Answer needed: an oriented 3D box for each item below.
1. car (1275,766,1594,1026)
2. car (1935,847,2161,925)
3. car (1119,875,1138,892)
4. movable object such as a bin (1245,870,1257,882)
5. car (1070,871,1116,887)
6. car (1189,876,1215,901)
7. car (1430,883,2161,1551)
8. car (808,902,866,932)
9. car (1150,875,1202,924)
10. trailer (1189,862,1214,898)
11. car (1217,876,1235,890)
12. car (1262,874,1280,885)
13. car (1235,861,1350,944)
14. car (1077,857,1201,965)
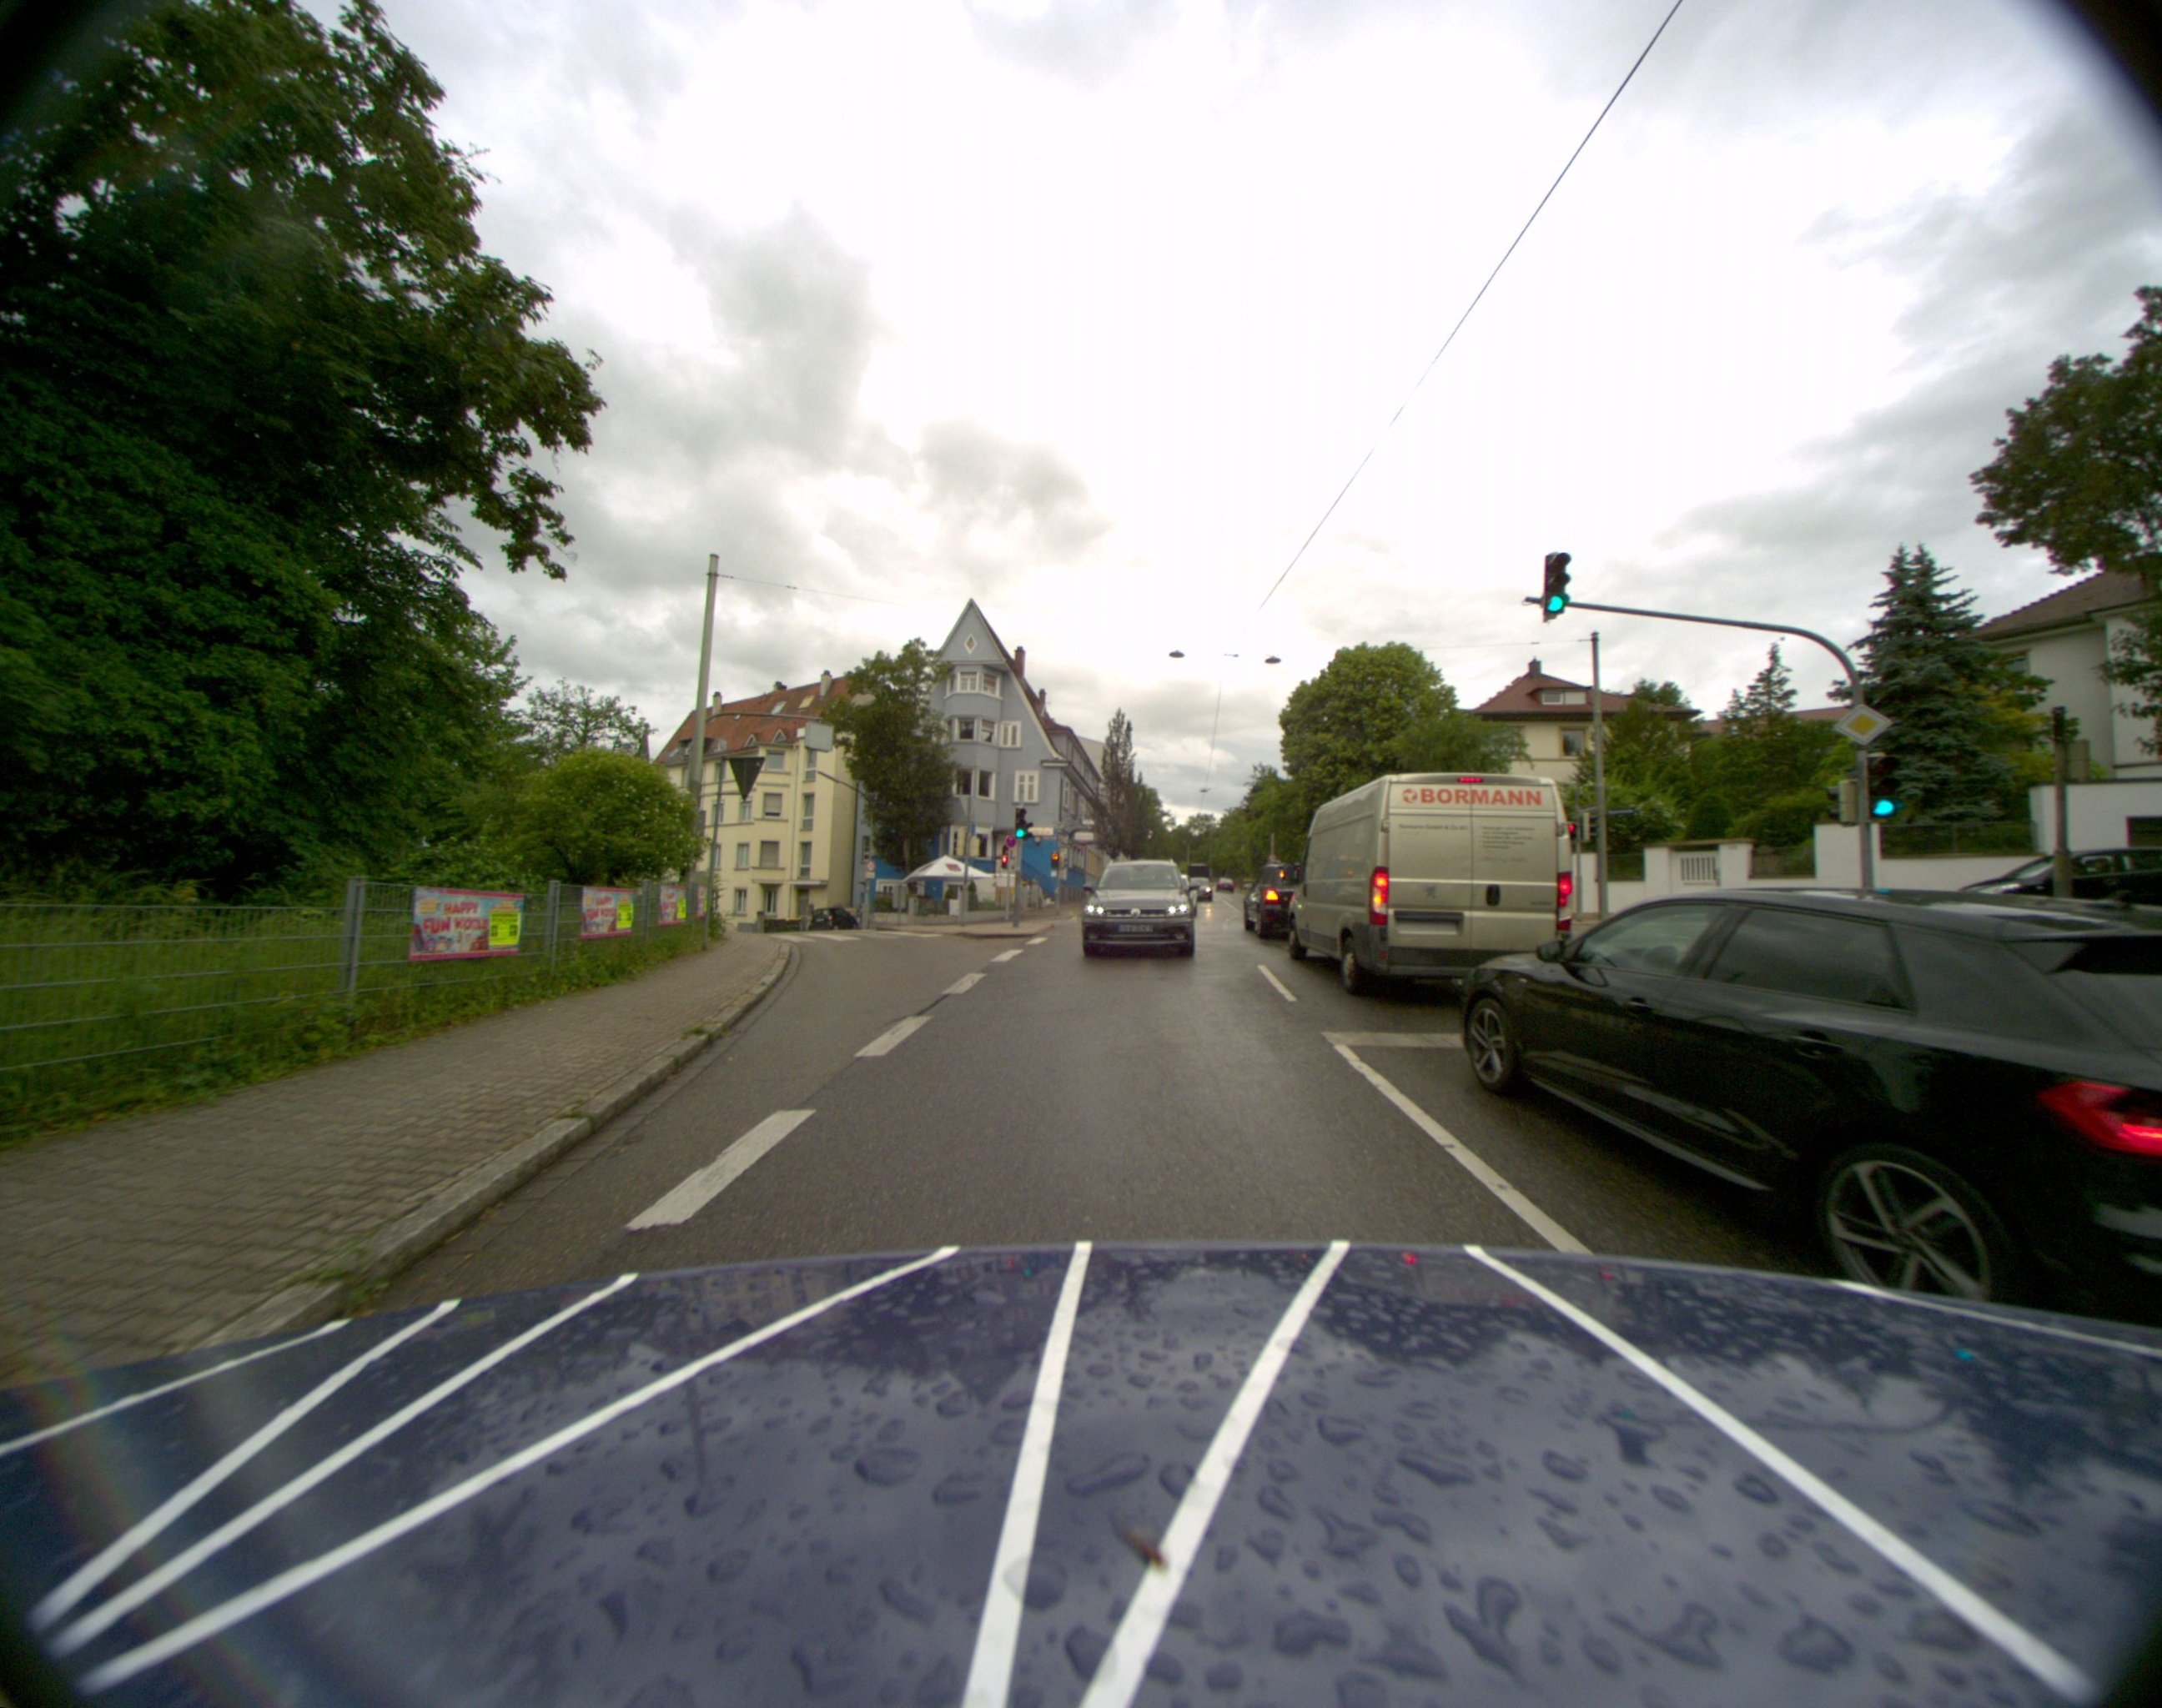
[{"bbox_3d":[4.205,0.428,10.313,2.122,2.530,5.542,1,0,5],"label":"car"},{"bbox_3d":[20.774,0.718,15.927,3.358,1.428,1.676,-4,-8,29],"label":"car"},{"bbox_3d":[4.352,2.659,69.360,1.590,1.403,3.458,2,-1,4],"label":"car"},{"bbox_3d":[20.801,2.687,93.085,1.226,1.342,1.123,1,0,0],"label":"movable object such as a bin"},{"bbox_3d":[1.161,2.432,74.795,4.367,1.399,1.808,-1,0,-7],"label":"car"},{"bbox_3d":[8.513,2.410,53.477,1.735,1.610,3.478,-1,0,8],"label":"car"},{"bbox_3d":[3.458,0.943,3.547,1.819,1.421,4.000,2,0,1],"label":"car"},{"bbox_3d":[-14.097,3.634,44.026,1.637,1.488,3.148,-5,-3,17],"label":"car"},{"bbox_3d":[3.613,1.665,29.152,1.785,1.631,4.202,1,-1,6],"label":"car"},{"bbox_3d":[8.970,1.916,56.690,1.769,2.610,3.035,0,0,8],"label":"trailer"},{"bbox_3d":[16.150,3.226,84.299,1.856,1.477,5.374,1,-2,11],"label":"car"},{"bbox_3d":[25.268,3.387,101.195,1.855,1.482,3.868,-1,-2,6],"label":"car"},{"bbox_3d":[4.660,1.028,17.361,1.825,1.642,4.349,0,-2,6],"label":"car"},{"bbox_3d":[1.223,0.908,13.892,1.784,1.631,4.204,1,-1,11],"label":"car"}]
